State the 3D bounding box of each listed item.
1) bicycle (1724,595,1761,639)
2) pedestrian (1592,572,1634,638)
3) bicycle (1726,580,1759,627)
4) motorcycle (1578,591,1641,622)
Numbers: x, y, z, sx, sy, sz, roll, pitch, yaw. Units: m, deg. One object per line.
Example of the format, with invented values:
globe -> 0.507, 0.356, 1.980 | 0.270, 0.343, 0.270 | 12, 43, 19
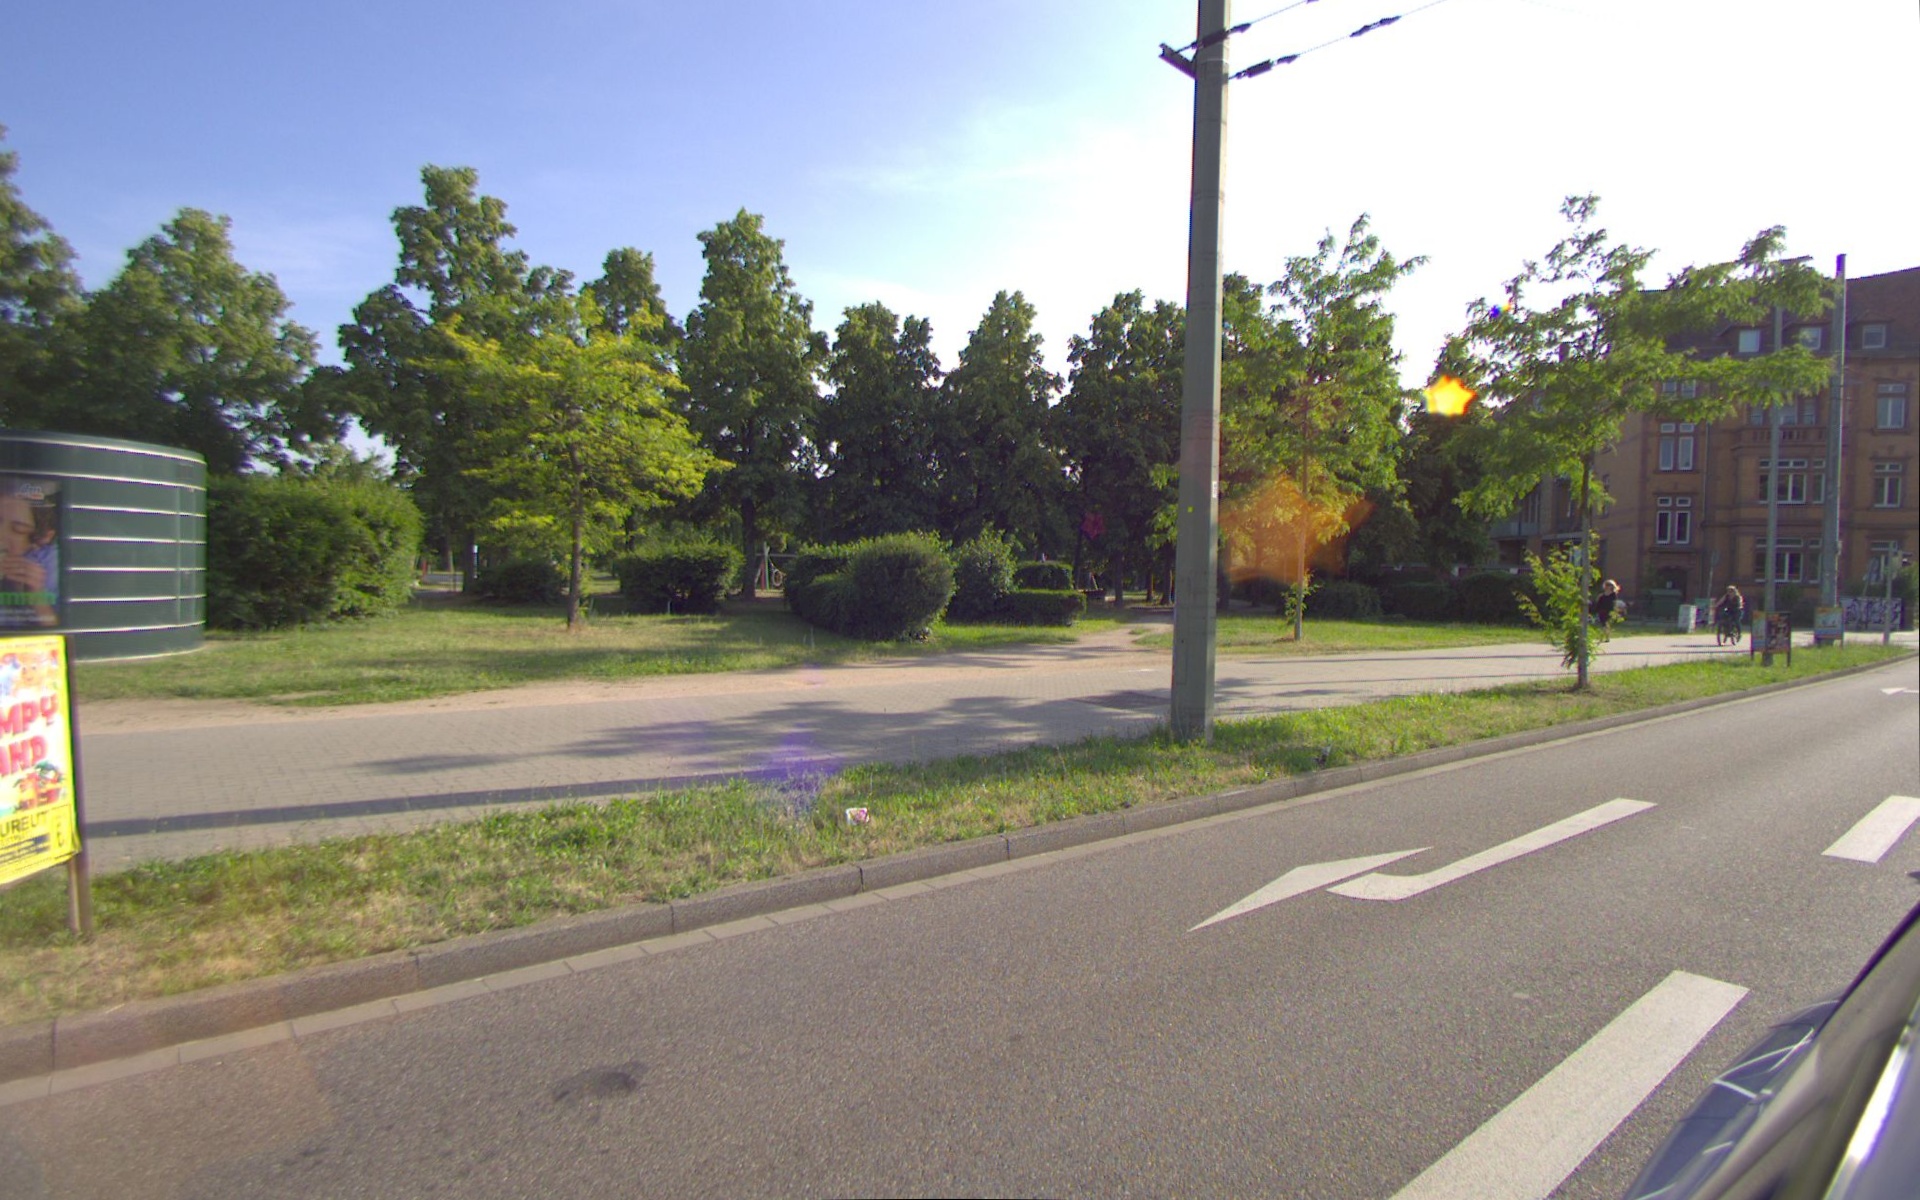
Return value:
bicycle -> 22.232, 0.466, 28.751 | 1.314, 1.205, 0.484 | 1, 0, -38
pedestrian -> 17.701, 0.122, 27.440 | 0.538, 1.711, 0.617 | 1, 6, -36
bicycle -> 22.228, 0.102, 28.745 | 0.675, 1.314, 0.575 | 1, 0, -37
motorcycle -> 25.969, 0.247, 40.483 | 0.696, 1.174, 1.997 | 1, 1, -45
